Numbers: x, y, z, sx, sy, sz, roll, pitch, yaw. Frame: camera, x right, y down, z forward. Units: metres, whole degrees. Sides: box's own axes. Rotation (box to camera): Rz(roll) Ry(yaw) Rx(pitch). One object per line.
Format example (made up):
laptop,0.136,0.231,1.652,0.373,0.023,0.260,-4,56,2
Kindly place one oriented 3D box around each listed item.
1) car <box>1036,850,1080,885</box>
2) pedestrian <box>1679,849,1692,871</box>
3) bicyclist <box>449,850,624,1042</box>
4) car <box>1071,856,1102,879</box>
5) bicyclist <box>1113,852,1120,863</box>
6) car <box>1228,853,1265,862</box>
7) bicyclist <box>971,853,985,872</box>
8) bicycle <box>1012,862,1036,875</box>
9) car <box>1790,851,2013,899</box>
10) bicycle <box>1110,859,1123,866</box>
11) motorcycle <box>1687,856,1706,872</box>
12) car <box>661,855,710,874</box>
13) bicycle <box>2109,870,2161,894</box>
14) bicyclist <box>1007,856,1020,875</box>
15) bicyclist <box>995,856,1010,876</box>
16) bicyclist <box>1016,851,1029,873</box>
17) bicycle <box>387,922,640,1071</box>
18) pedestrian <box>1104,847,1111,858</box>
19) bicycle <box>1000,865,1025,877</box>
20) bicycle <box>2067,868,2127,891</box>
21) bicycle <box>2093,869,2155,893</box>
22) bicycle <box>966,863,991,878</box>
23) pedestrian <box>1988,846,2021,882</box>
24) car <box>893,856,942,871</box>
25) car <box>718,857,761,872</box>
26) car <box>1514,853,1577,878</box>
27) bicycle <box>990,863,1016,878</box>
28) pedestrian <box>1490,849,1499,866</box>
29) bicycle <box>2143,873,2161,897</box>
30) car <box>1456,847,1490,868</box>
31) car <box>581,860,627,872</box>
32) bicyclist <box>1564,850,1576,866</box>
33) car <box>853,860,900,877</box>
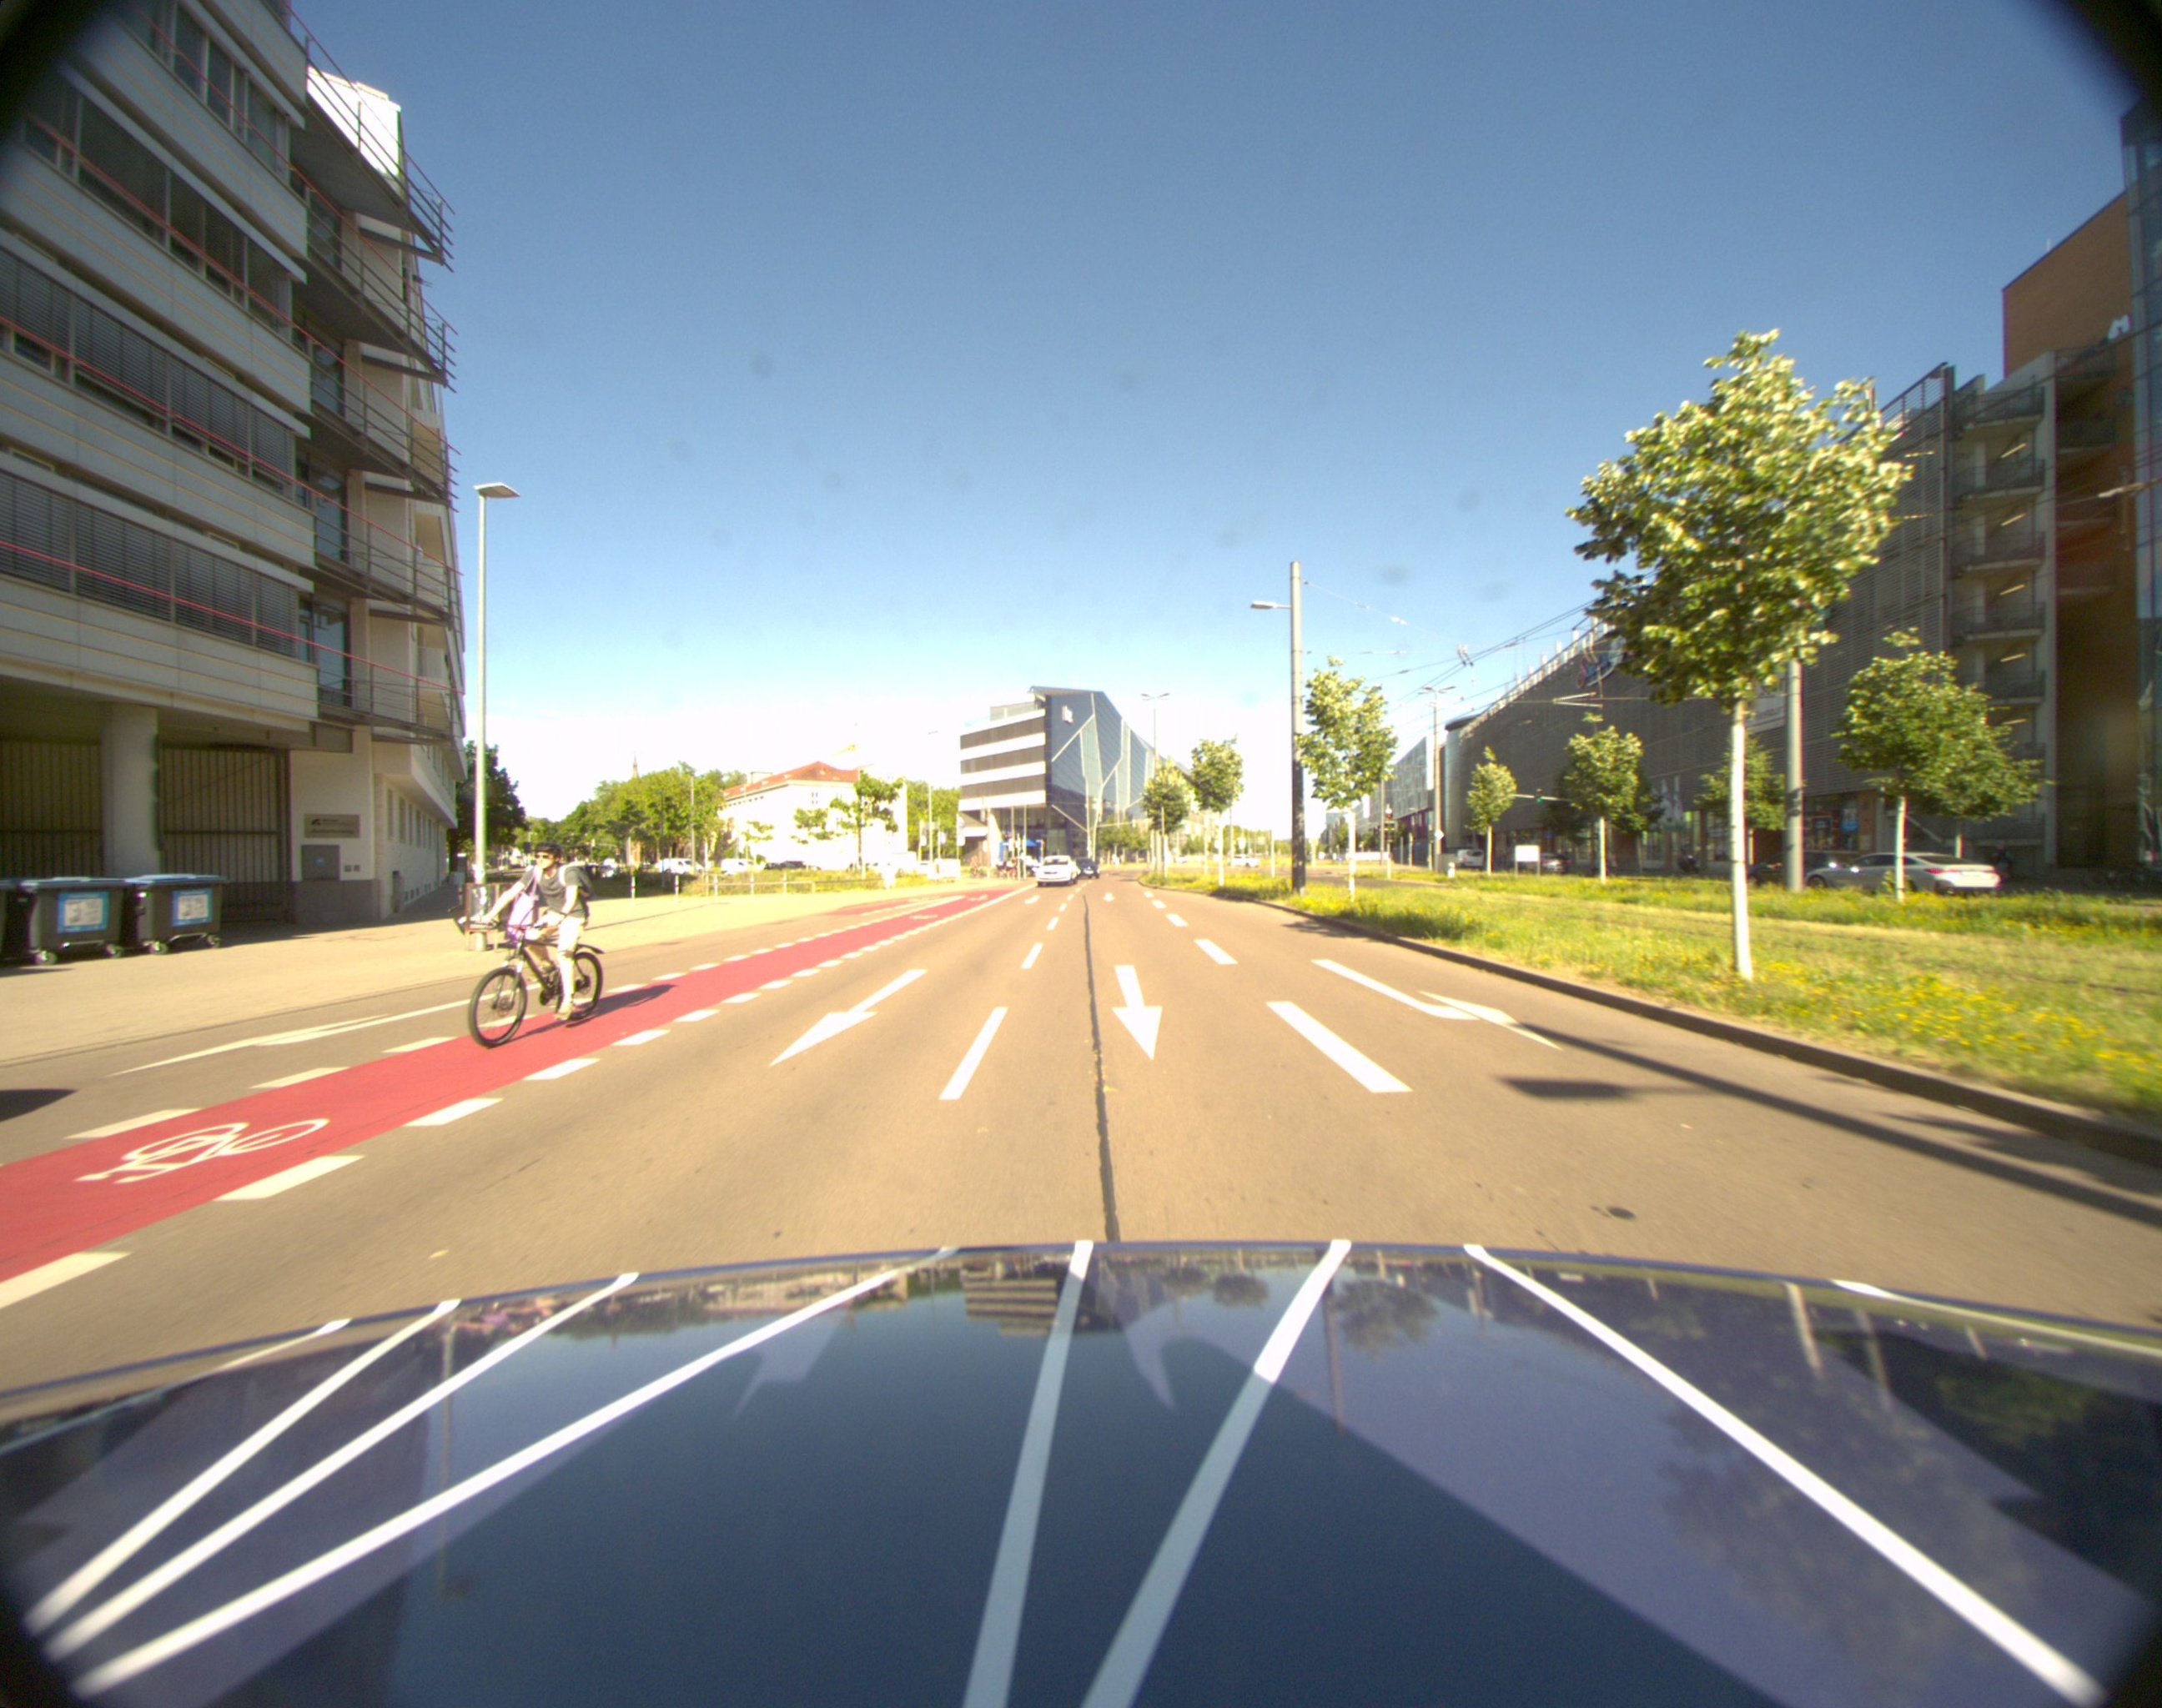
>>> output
car,-1.194,0.707,41.879,1.873,1.621,4.338,-1,3,5
pedestrian,41.504,0.434,52.163,0.490,1.510,0.650,0,1,19
bicyclist,-5.157,0.821,7.279,0.808,1.683,1.051,-2,1,5
car,0.464,0.977,56.308,1.872,1.547,4.002,0,0,6
bicyclist,4.621,0.437,98.818,0.760,1.402,0.773,0,1,26
car,20.182,0.421,92.658,2.004,1.084,3.988,-1,0,-43
bicyclist,-7.870,0.644,57.850,0.736,1.369,0.698,1,-1,41
bicycle,-4.686,1.230,62.605,1.893,1.031,0.607,1,0,8
car,25.396,0.591,23.845,1.998,1.326,4.791,-1,0,4
bicycle,4.663,1.149,98.879,0.768,0.835,2.572,0,0,26
motorcycle,42.363,0.691,52.315,0.401,1.032,1.621,0,0,15
car,-41.976,1.135,80.637,4.644,1.970,1.877,0,1,20
bicycle,38.019,0.998,27.262,1.449,0.814,0.446,-1,1,8
bicyclist,-5.188,0.895,58.157,0.826,1.395,0.590,1,0,13
bicyclist,-6.625,1.014,64.175,1.001,1.644,0.596,3,1,18
bicyclist,-4.841,0.690,62.630,0.905,1.787,0.550,1,0,8
bicycle,-5.224,1.262,7.198,0.827,1.030,1.892,-2,0,5
pedestrian,3.818,-0.192,109.528,0.855,1.546,0.614,0,1,20
bicycle,-5.259,1.300,58.334,1.704,0.948,0.697,1,0,13
bicycle,38.199,0.960,28.584,1.449,0.814,0.446,-1,1,8
bicycle,38.152,0.982,27.797,1.449,0.814,0.446,-1,1,8
bicycle,-7.795,1.232,57.767,2.005,1.098,0.698,1,-1,41
pedestrian,40.268,0.428,33.139,0.636,1.544,0.662,0,1,20
car,-16.623,0.966,77.256,4.475,1.423,1.843,0,2,15
car,-37.221,1.115,82.859,3.991,1.547,1.877,0,0,19
car,32.921,0.804,53.994,1.998,1.671,4.539,0,0,4
bicycle,-6.566,1.393,64.147,2.007,1.098,0.698,3,-2,18
pedestrian,42.433,0.326,77.918,0.589,1.741,0.625,-1,1,-4
bicycle,37.406,1.041,25.945,1.449,0.814,0.446,-1,1,8
car,39.066,0.323,75.822,2.223,2.002,5.263,0,0,18
car,-53.706,1.364,85.517,4.645,1.263,1.877,0,0,18
bicyclist,44.874,0.356,69.754,0.592,1.399,1.314,0,1,15
car,-19.854,1.417,73.962,3.993,1.547,1.877,0,0,13
